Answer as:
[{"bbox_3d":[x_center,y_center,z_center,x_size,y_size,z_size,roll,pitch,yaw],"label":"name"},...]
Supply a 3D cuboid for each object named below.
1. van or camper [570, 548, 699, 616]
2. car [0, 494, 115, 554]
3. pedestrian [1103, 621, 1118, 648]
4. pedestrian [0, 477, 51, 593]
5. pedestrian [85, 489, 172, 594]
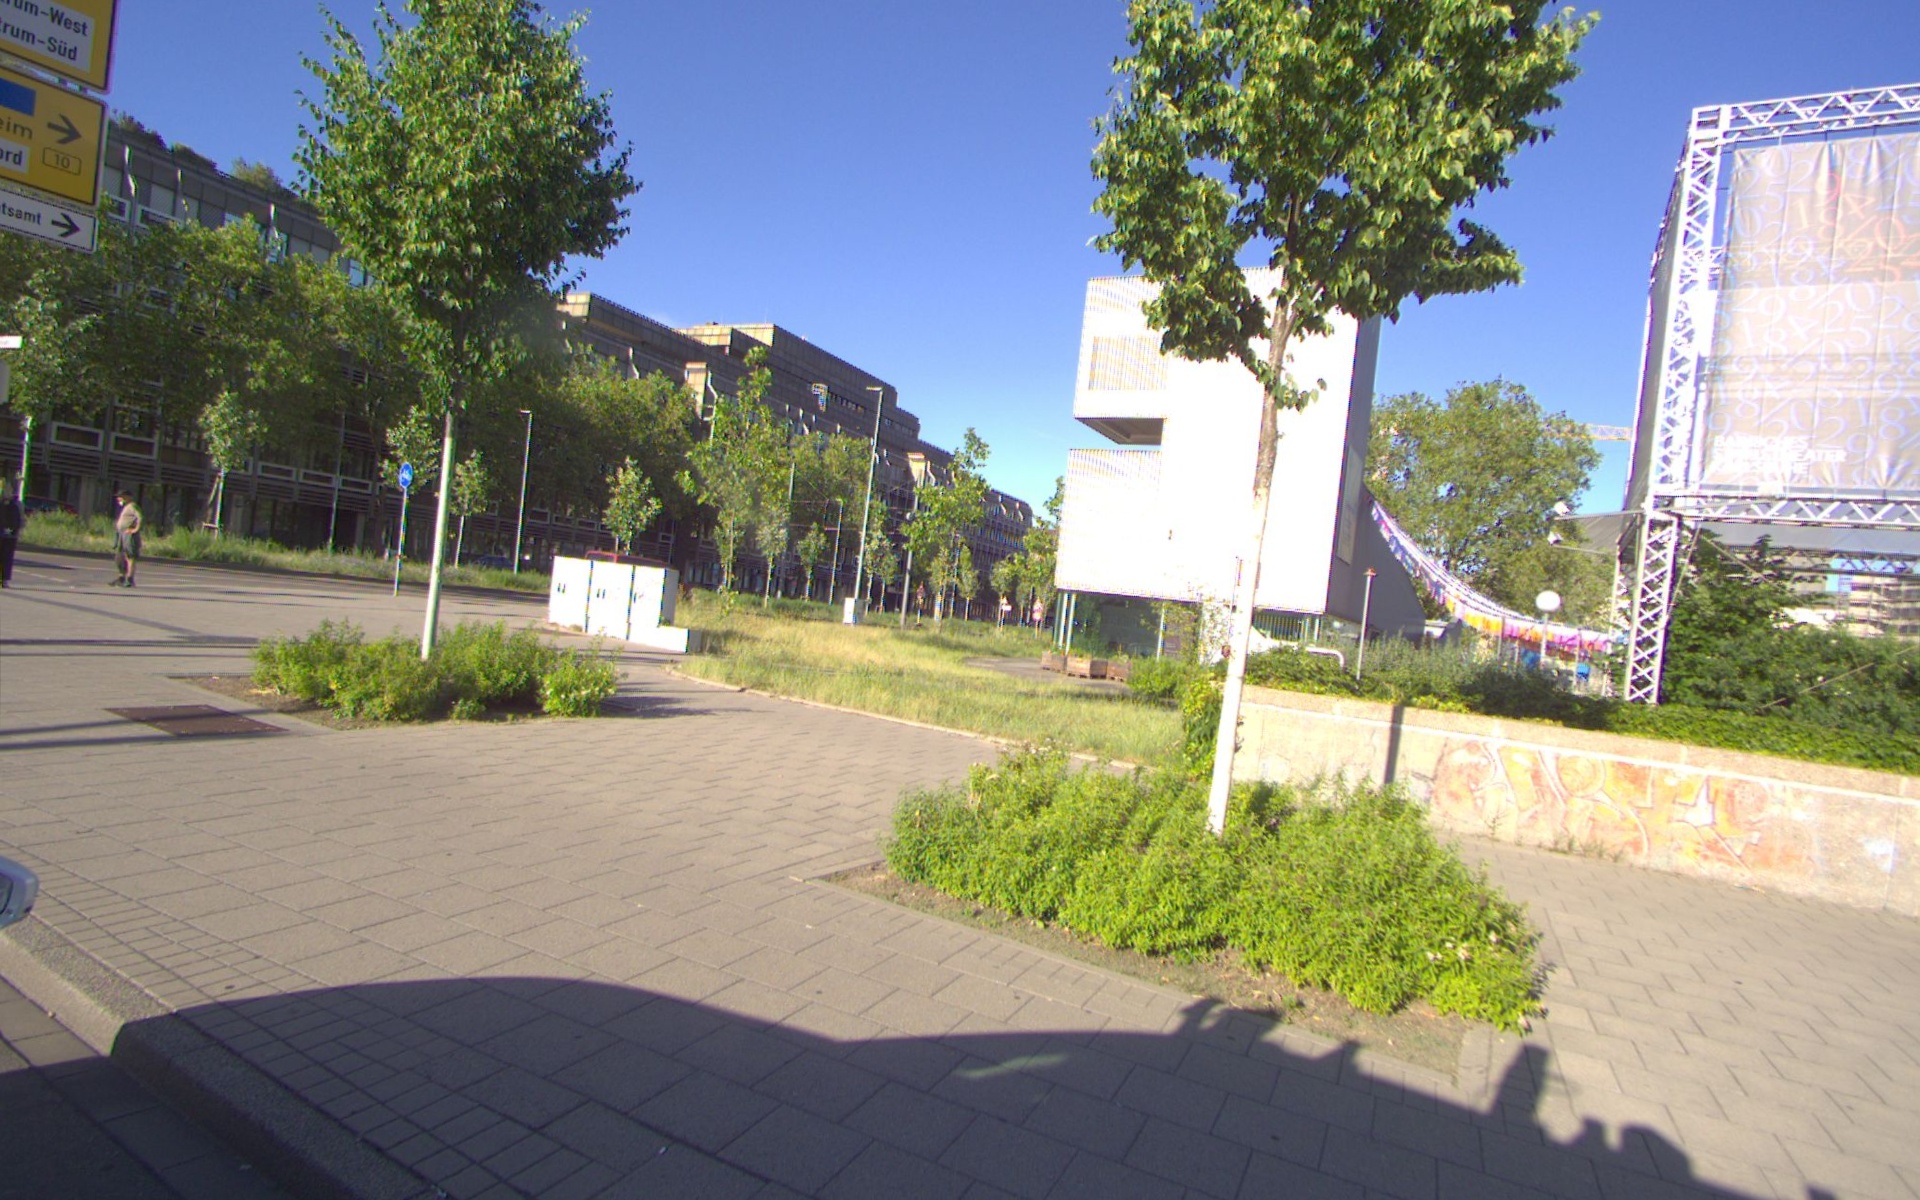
[{"bbox_3d":[-12.157,-0.618,37.990,1.969,2.038,4.844,7,-1,19],"label":"van or camper"},{"bbox_3d":[-33.141,-2.771,35.790,1.792,1.704,4.302,7,-1,21],"label":"car"},{"bbox_3d":[9.148,2.107,61.185,0.520,1.571,0.638,7,-1,31],"label":"pedestrian"},{"bbox_3d":[-14.213,-0.990,14.904,0.859,1.634,0.767,7,1,30],"label":"pedestrian"},{"bbox_3d":[-14.886,-1.045,18.023,0.755,1.728,0.873,7,1,30],"label":"pedestrian"}]
